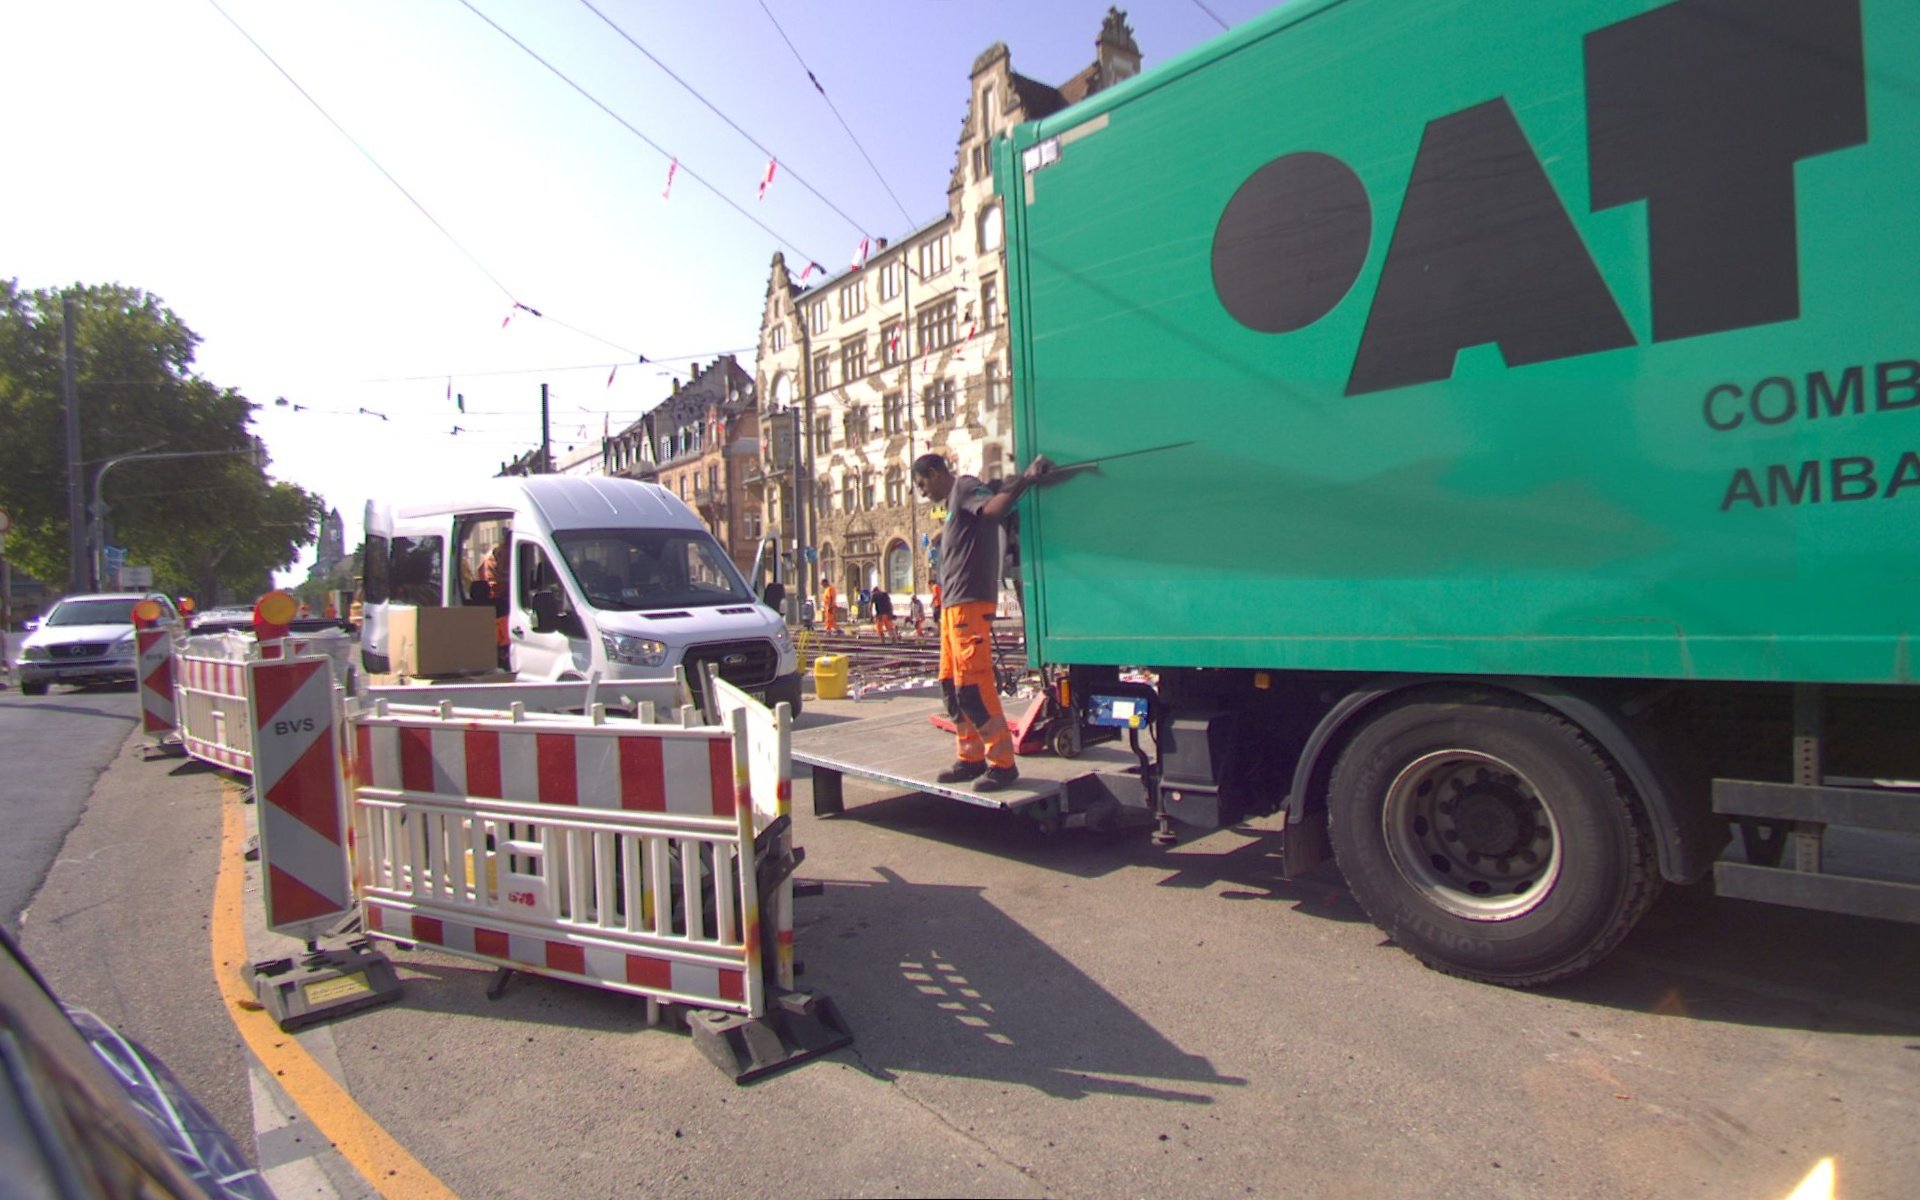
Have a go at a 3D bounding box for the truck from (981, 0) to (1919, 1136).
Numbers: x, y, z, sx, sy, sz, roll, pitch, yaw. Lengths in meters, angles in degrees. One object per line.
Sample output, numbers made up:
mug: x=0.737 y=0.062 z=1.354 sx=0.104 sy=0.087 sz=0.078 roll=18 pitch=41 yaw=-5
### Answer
truck: x=3.949 y=-0.552 z=2.805 sx=2.643 sy=3.706 sz=8.220 roll=-2 pitch=1 yaw=-44

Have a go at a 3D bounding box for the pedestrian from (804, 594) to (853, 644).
pedestrian: x=-3.935 y=0.557 z=30.319 sx=1.127 sy=1.452 sz=0.920 roll=-2 pitch=0 yaw=-35

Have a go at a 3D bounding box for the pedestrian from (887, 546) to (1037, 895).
pedestrian: x=0.010 y=0.592 z=5.367 sx=0.697 sy=1.706 sz=0.766 roll=-1 pitch=1 yaw=0

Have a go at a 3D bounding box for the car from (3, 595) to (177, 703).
car: x=-16.282 y=0.809 z=19.206 sx=1.967 sy=1.708 sz=5.238 roll=-2 pitch=1 yaw=-35

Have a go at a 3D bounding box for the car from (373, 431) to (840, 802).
car: x=-3.744 y=0.115 z=10.097 sx=5.171 sy=2.749 sz=2.201 roll=-1 pitch=1 yaw=43

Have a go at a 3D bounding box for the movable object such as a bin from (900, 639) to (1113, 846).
movable object such as a bin: x=0.256 y=0.847 z=6.586 sx=0.634 sy=1.100 sz=1.485 roll=-2 pitch=1 yaw=-32

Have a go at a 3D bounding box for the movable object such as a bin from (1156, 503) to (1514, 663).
movable object such as a bin: x=8.963 y=-0.374 z=25.490 sx=2.808 sy=3.355 sz=8.368 roll=-1 pitch=1 yaw=-34

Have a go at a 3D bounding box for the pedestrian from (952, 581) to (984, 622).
pedestrian: x=0.344 y=0.070 z=44.754 sx=0.902 sy=1.754 sz=1.149 roll=-2 pitch=1 yaw=-36

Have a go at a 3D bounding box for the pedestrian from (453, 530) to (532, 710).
pedestrian: x=-5.529 y=0.215 z=11.943 sx=0.724 sy=2.029 sz=0.910 roll=-1 pitch=0 yaw=-30

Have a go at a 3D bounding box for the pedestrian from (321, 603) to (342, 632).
pedestrian: x=-39.472 y=1.086 z=63.565 sx=1.018 sy=1.723 sz=1.098 roll=-2 pitch=1 yaw=-37

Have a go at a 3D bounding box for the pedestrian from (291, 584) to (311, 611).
pedestrian: x=-52.009 y=-0.182 z=79.885 sx=0.897 sy=2.028 sz=0.914 roll=-3 pitch=3 yaw=-9

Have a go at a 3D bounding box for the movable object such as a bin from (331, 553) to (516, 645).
movable object such as a bin: x=-21.069 y=-0.132 z=40.063 sx=2.112 sy=3.371 sz=6.092 roll=-1 pitch=1 yaw=35

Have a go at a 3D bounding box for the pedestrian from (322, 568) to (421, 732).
pedestrian: x=-7.582 y=0.621 z=13.078 sx=0.725 sy=2.029 sz=0.908 roll=-1 pitch=0 yaw=-2

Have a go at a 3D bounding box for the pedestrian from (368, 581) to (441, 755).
pedestrian: x=-6.790 y=0.792 z=12.385 sx=0.724 sy=2.029 sz=0.910 roll=-1 pitch=0 yaw=-29

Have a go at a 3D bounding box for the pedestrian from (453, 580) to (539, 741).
pedestrian: x=-6.081 y=0.767 z=13.304 sx=0.725 sy=2.029 sz=0.908 roll=-1 pitch=0 yaw=-4

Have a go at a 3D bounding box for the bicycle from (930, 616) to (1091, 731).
bicycle: x=0.553 y=0.776 z=10.771 sx=1.642 sy=1.145 sz=0.616 roll=-1 pitch=1 yaw=7

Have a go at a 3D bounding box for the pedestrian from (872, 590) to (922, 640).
pedestrian: x=-1.891 y=0.450 z=30.399 sx=1.127 sy=1.452 sz=0.920 roll=-2 pitch=0 yaw=-35
